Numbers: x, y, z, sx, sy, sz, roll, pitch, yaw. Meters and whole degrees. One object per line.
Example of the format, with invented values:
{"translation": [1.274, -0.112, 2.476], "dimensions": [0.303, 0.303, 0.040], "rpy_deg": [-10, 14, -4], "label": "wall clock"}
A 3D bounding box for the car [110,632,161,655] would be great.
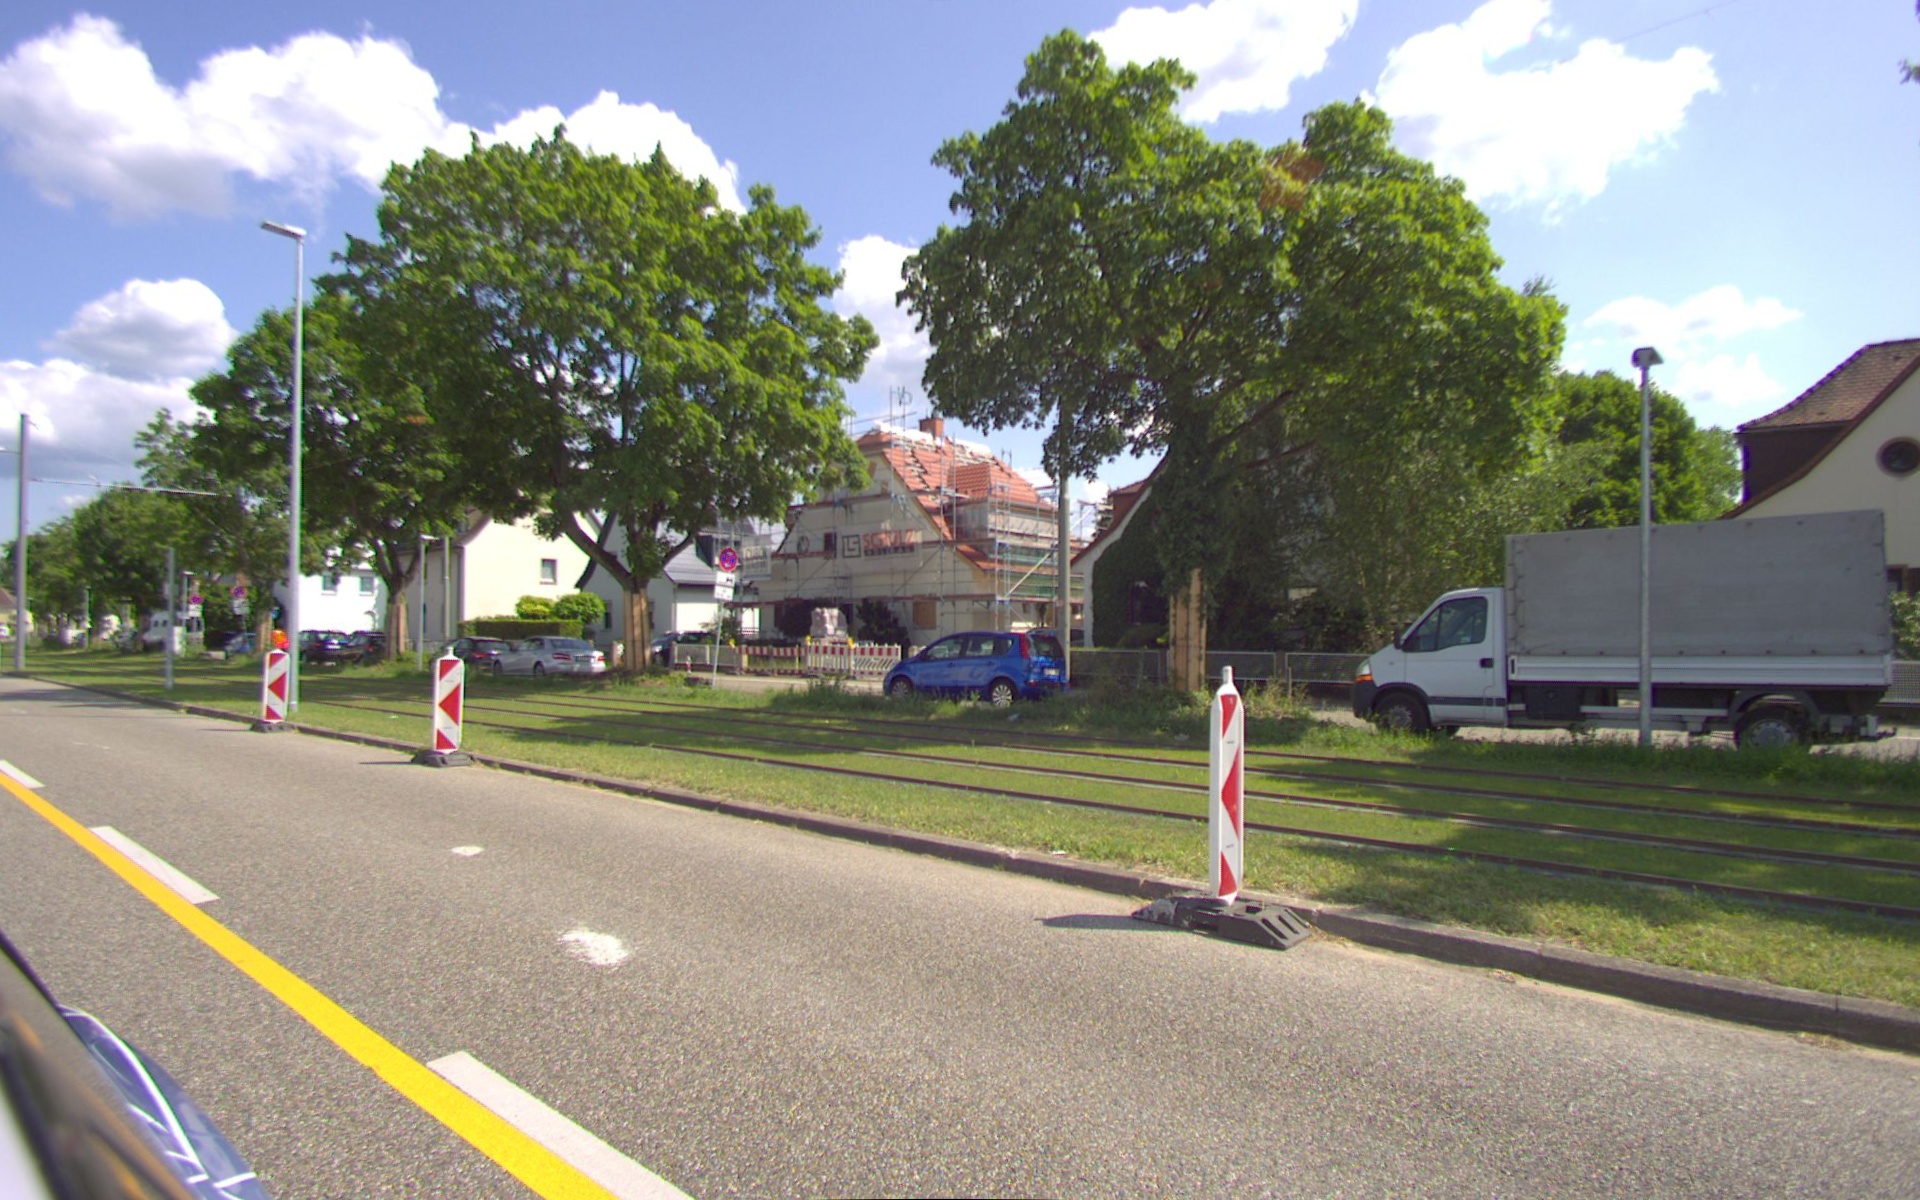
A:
{"translation": [-57.677, 3.010, 70.766], "dimensions": [4.484, 1.517, 1.973], "rpy_deg": [-1, -3, 41], "label": "car"}

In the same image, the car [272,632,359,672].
{"translation": [-29.463, 2.348, 46.237], "dimensions": [4.385, 1.704, 1.974], "rpy_deg": [-1, -3, 38], "label": "car"}

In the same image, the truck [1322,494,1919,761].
{"translation": [8.251, 0.443, 13.349], "dimensions": [6.272, 2.789, 1.973], "rpy_deg": [-2, -6, 41], "label": "truck"}

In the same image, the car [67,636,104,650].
{"translation": [-71.899, 3.509, 83.197], "dimensions": [3.834, 1.101, 1.762], "rpy_deg": [-1, -3, 41], "label": "car"}

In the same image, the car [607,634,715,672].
{"translation": [-12.534, 2.187, 42.593], "dimensions": [1.981, 1.412, 3.945], "rpy_deg": [-1, -1, 41], "label": "car"}

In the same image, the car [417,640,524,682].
{"translation": [-17.231, 2.142, 35.550], "dimensions": [3.850, 1.328, 1.973], "rpy_deg": [-1, -5, 41], "label": "car"}

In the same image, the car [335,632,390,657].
{"translation": [-38.618, 2.862, 65.411], "dimensions": [3.998, 1.589, 1.883], "rpy_deg": [-1, -3, 41], "label": "car"}

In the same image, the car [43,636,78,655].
{"translation": [-83.376, 4.265, 93.812], "dimensions": [4.099, 1.590, 1.885], "rpy_deg": [-3, -7, 42], "label": "car"}

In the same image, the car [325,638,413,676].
{"translation": [-24.892, 2.385, 42.586], "dimensions": [3.998, 1.450, 1.973], "rpy_deg": [-1, -4, 41], "label": "car"}

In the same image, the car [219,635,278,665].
{"translation": [-37.030, 2.573, 52.628], "dimensions": [3.889, 1.447, 1.735], "rpy_deg": [-1, -3, 43], "label": "car"}

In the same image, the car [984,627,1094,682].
{"translation": [2.675, 1.787, 33.643], "dimensions": [1.872, 1.697, 3.610], "rpy_deg": [-1, -3, 40], "label": "car"}

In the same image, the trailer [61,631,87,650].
{"translation": [-75.939, 3.462, 86.725], "dimensions": [2.280, 1.530, 1.286], "rpy_deg": [-1, -3, 40], "label": "trailer"}

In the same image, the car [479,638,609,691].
{"translation": [-13.220, 1.992, 32.032], "dimensions": [4.937, 1.494, 1.786], "rpy_deg": [-1, -3, 42], "label": "car"}

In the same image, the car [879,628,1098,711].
{"translation": [0.512, 1.313, 20.110], "dimensions": [3.996, 1.464, 1.974], "rpy_deg": [-1, -3, 39], "label": "car"}

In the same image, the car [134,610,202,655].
{"translation": [-50.390, 2.100, 64.346], "dimensions": [6.455, 2.751, 1.974], "rpy_deg": [-2, -4, 39], "label": "car"}
